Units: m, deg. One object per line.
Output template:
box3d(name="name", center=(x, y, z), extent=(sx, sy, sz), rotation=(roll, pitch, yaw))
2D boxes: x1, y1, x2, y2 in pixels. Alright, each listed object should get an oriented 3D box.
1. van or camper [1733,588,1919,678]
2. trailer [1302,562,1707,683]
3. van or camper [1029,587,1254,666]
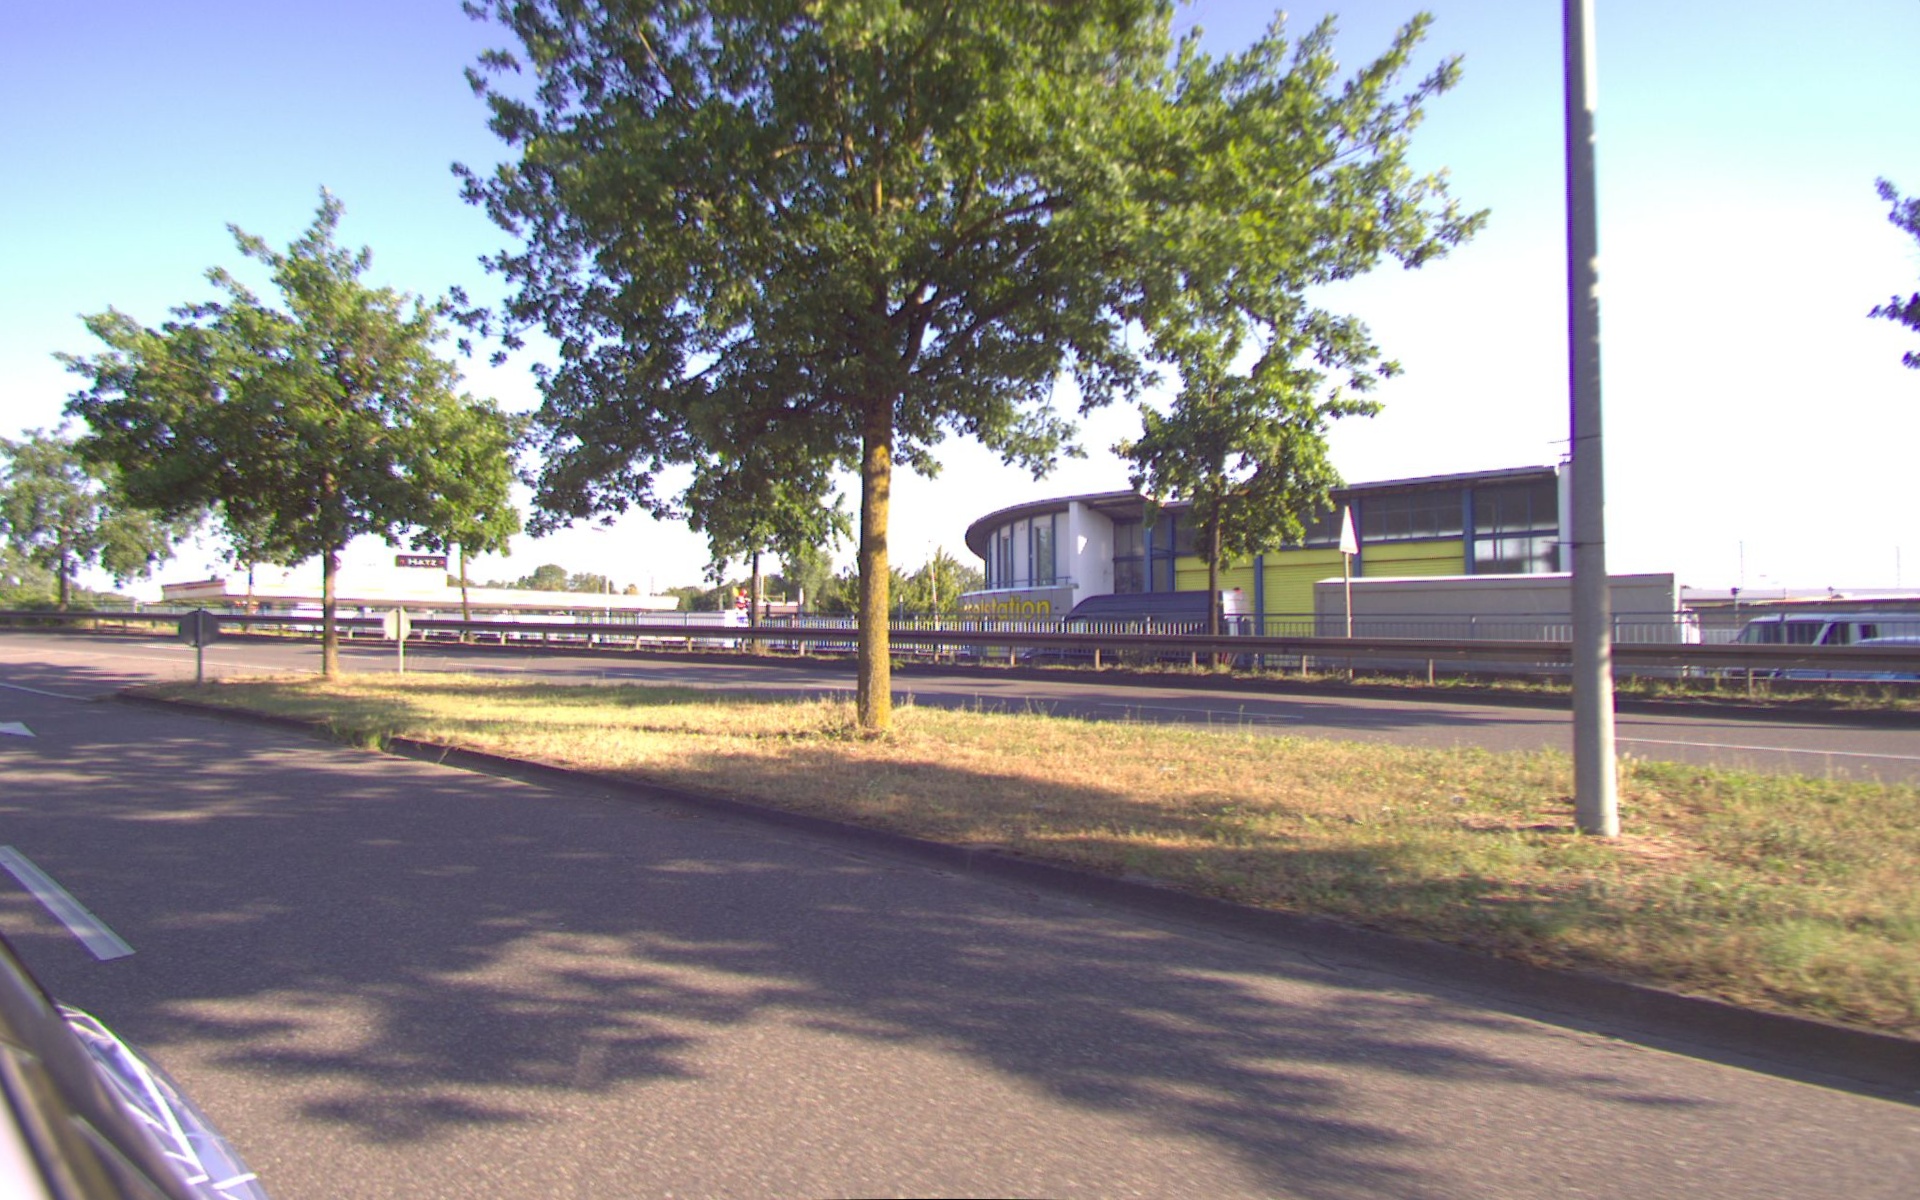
box3d(name="van or camper", center=(20.539, 0.772, 23.626), extent=(4.156, 1.940, 2.006), rotation=(2, -1, -19))
box3d(name="trailer", center=(10.289, 0.402, 19.543), extent=(6.597, 1.985, 2.396), rotation=(0, -1, 38))
box3d(name="van or camper", center=(4.243, 0.598, 24.118), extent=(4.952, 1.698, 1.975), rotation=(0, -1, 37))
